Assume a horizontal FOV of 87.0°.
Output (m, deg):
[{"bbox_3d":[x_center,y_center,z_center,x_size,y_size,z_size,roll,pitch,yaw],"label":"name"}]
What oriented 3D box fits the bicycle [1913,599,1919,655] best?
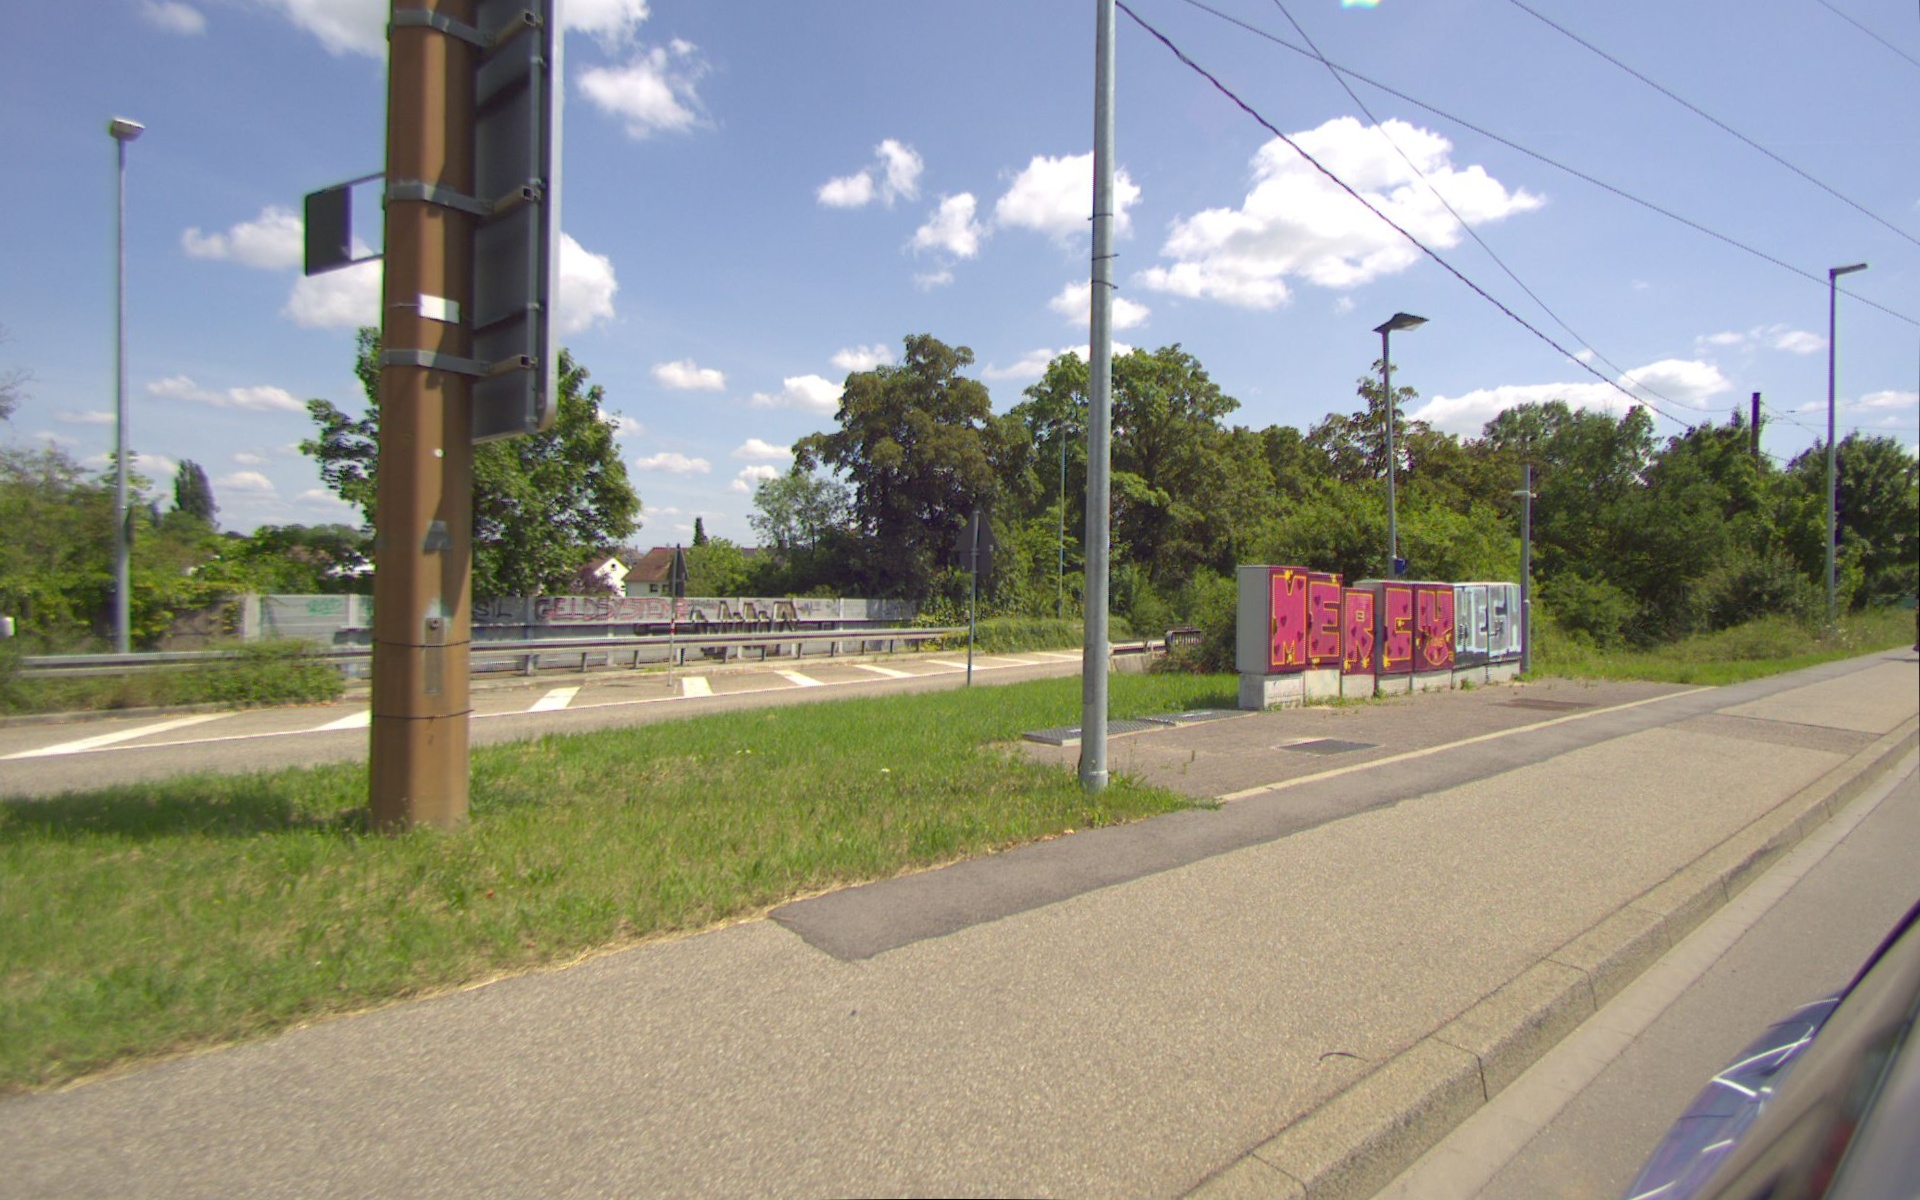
[{"bbox_3d":[20.565,0.574,21.288,1.820,1.167,0.433,2,-2,-36],"label":"bicycle"}]
